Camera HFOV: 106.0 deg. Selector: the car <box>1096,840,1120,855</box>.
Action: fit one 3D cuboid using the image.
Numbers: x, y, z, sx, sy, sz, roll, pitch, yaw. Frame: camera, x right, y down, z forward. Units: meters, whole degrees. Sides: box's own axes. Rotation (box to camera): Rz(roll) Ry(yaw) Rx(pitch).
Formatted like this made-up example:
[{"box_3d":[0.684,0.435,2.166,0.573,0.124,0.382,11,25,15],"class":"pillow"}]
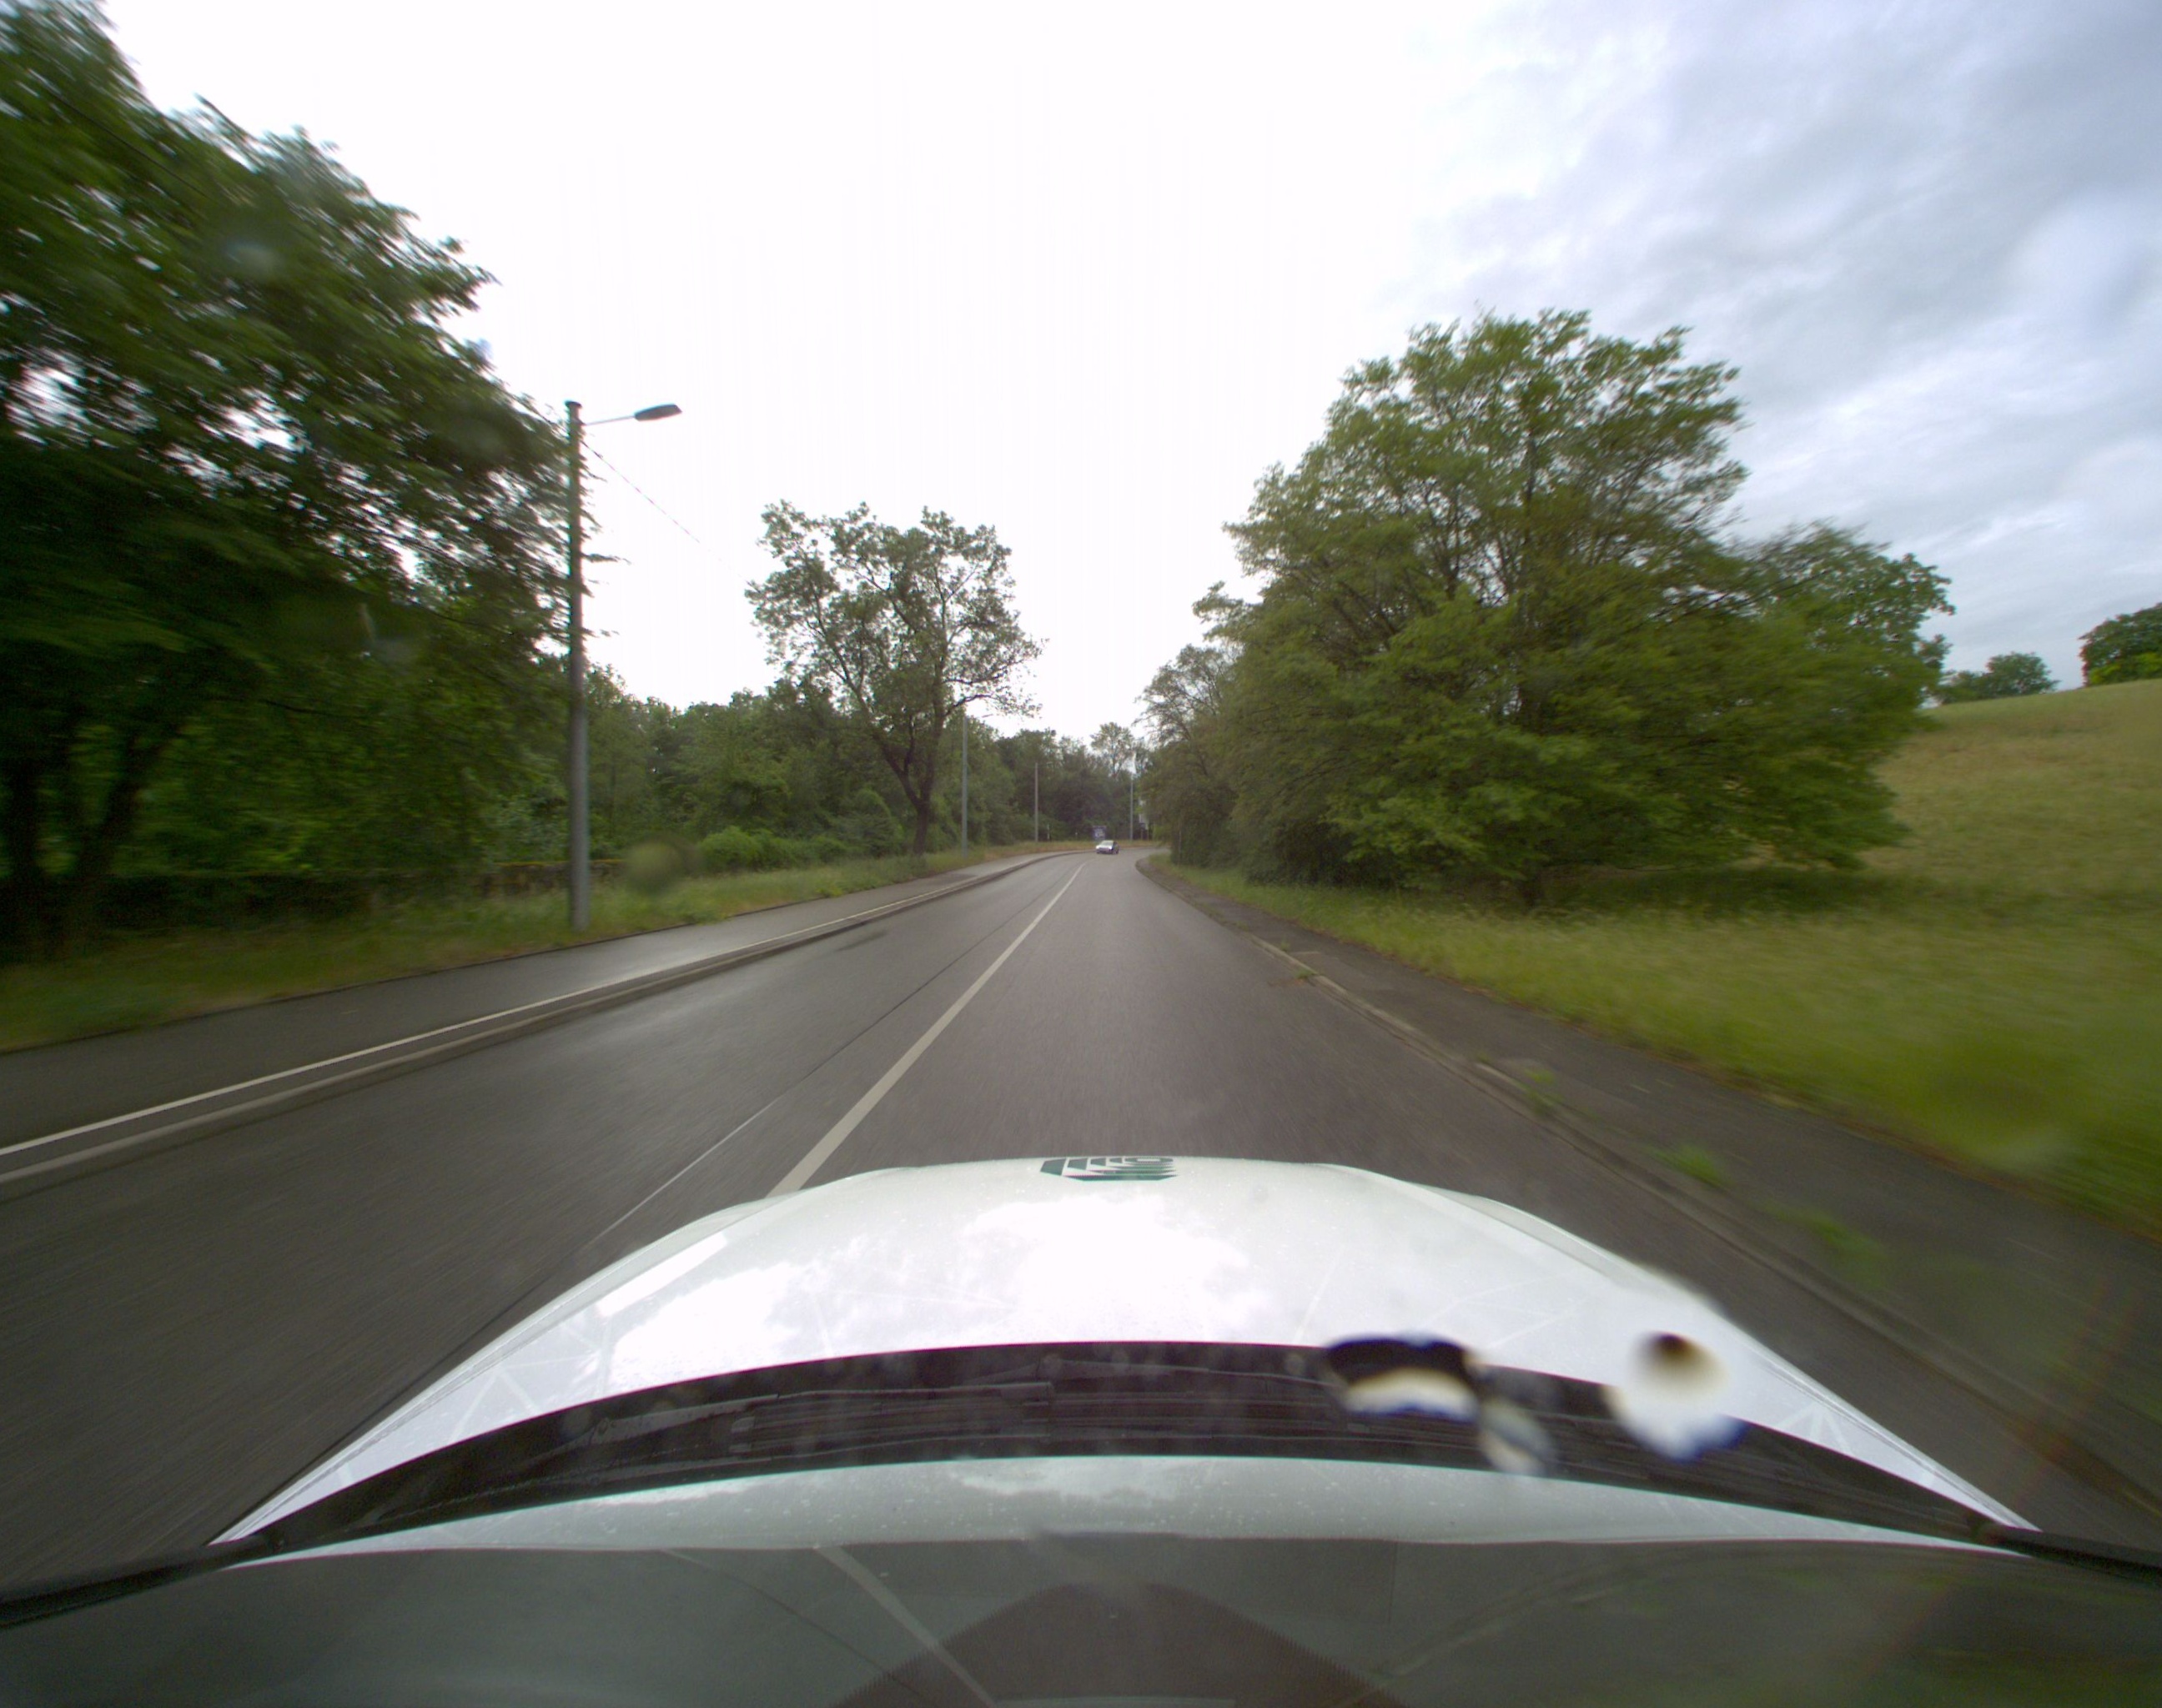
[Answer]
[{"box_3d":[3.051,-0.774,90.737,1.768,1.430,4.492,4,3,13],"class":"car"}]
